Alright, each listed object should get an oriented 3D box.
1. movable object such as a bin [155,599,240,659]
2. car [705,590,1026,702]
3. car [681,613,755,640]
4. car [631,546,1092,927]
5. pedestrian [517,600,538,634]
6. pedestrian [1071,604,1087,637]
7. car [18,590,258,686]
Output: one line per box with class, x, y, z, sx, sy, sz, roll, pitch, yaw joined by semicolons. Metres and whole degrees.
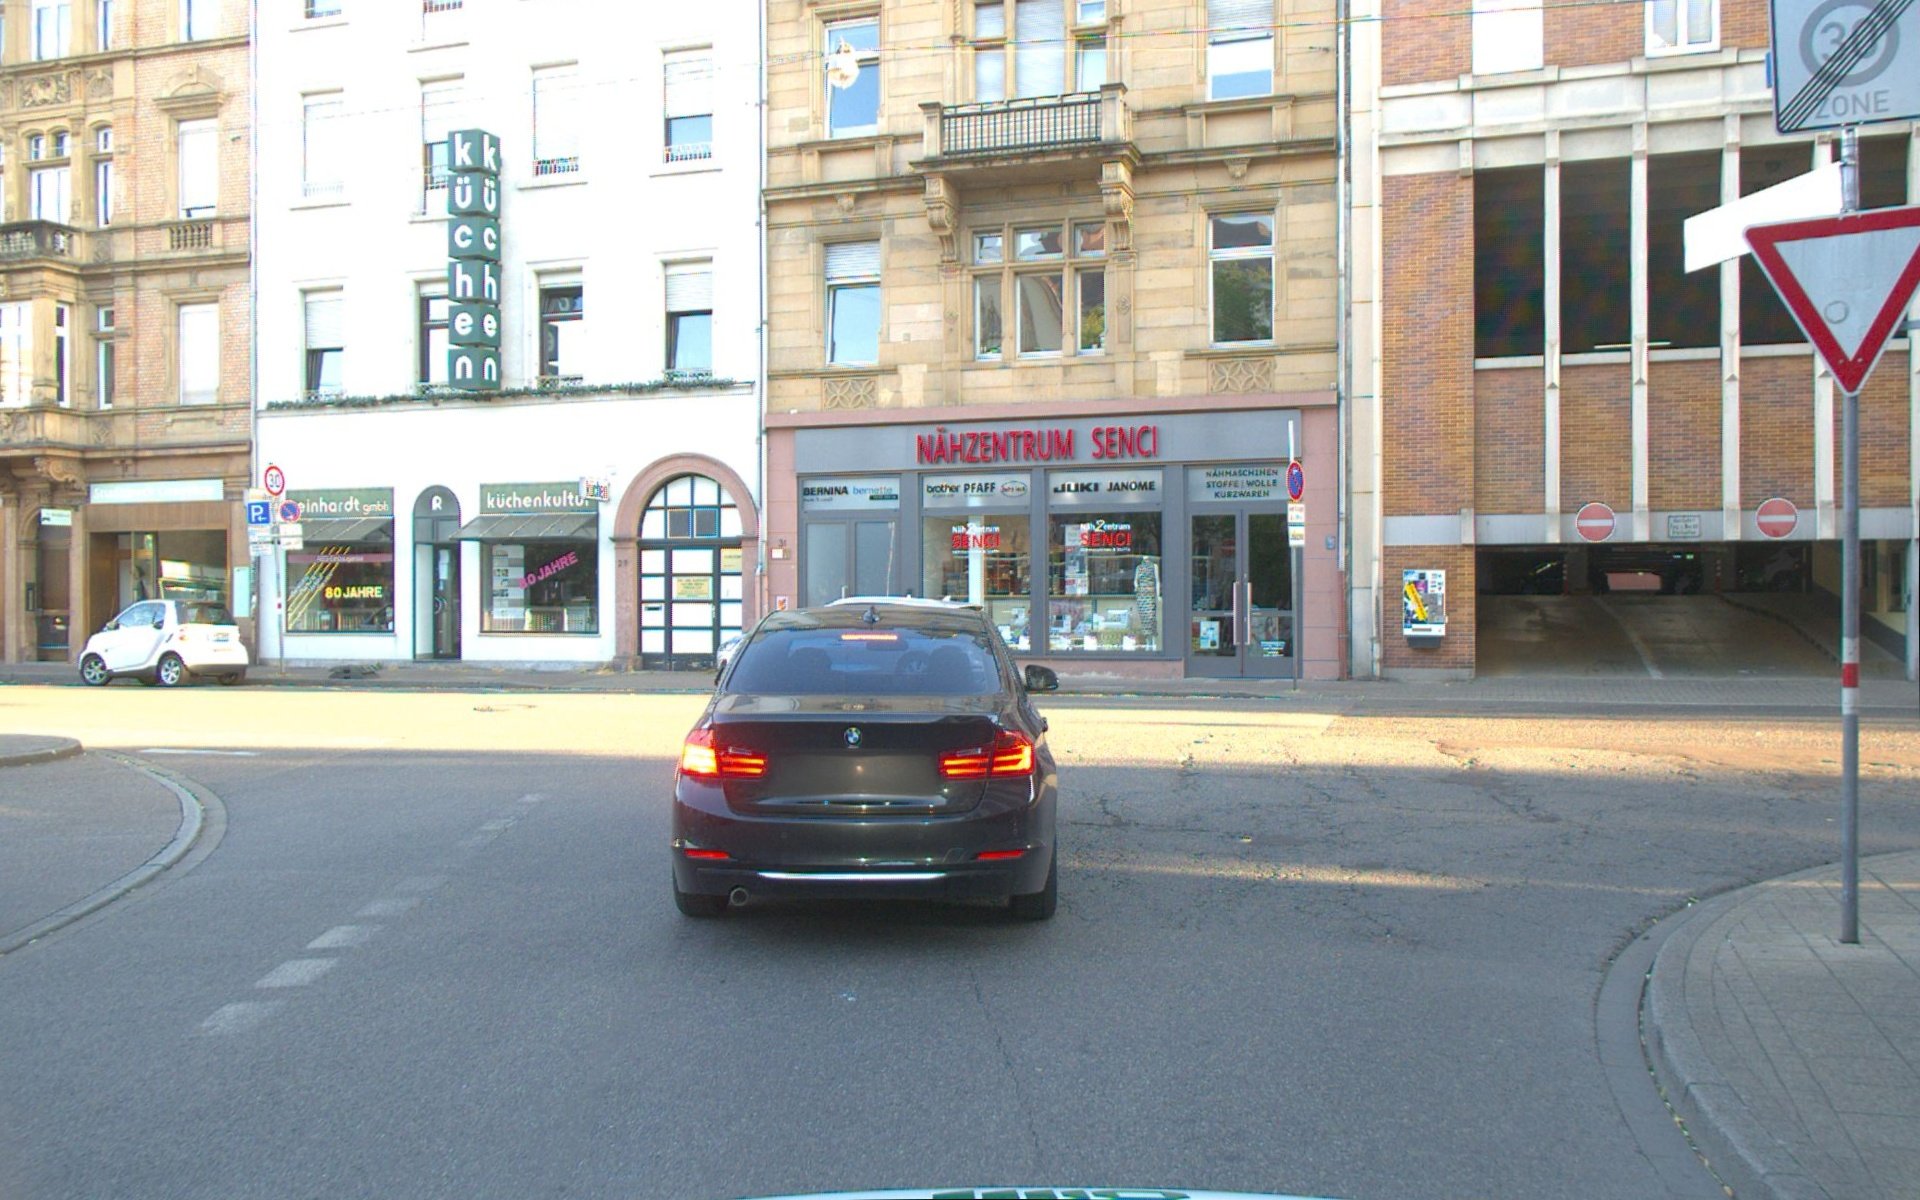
movable object such as a bin;-15.654;0.580;33.973;1.364;1.207;0.869;0;0;19
car;-1.454;0.669;25.822;4.568;1.562;2.001;1;0;18
car;-16.483;1.784;112.541;4.504;1.681;2.100;1;1;14
car;-0.316;0.569;8.728;1.849;1.518;4.205;0;-1;2
pedestrian;-26.777;1.049;102.358;0.902;2.049;0.909;-1;-1;42
pedestrian;6.681;1.153;92.755;0.687;1.851;1.121;0;0;-6
car;-15.134;0.666;30.470;3.904;1.612;1.706;1;0;19
